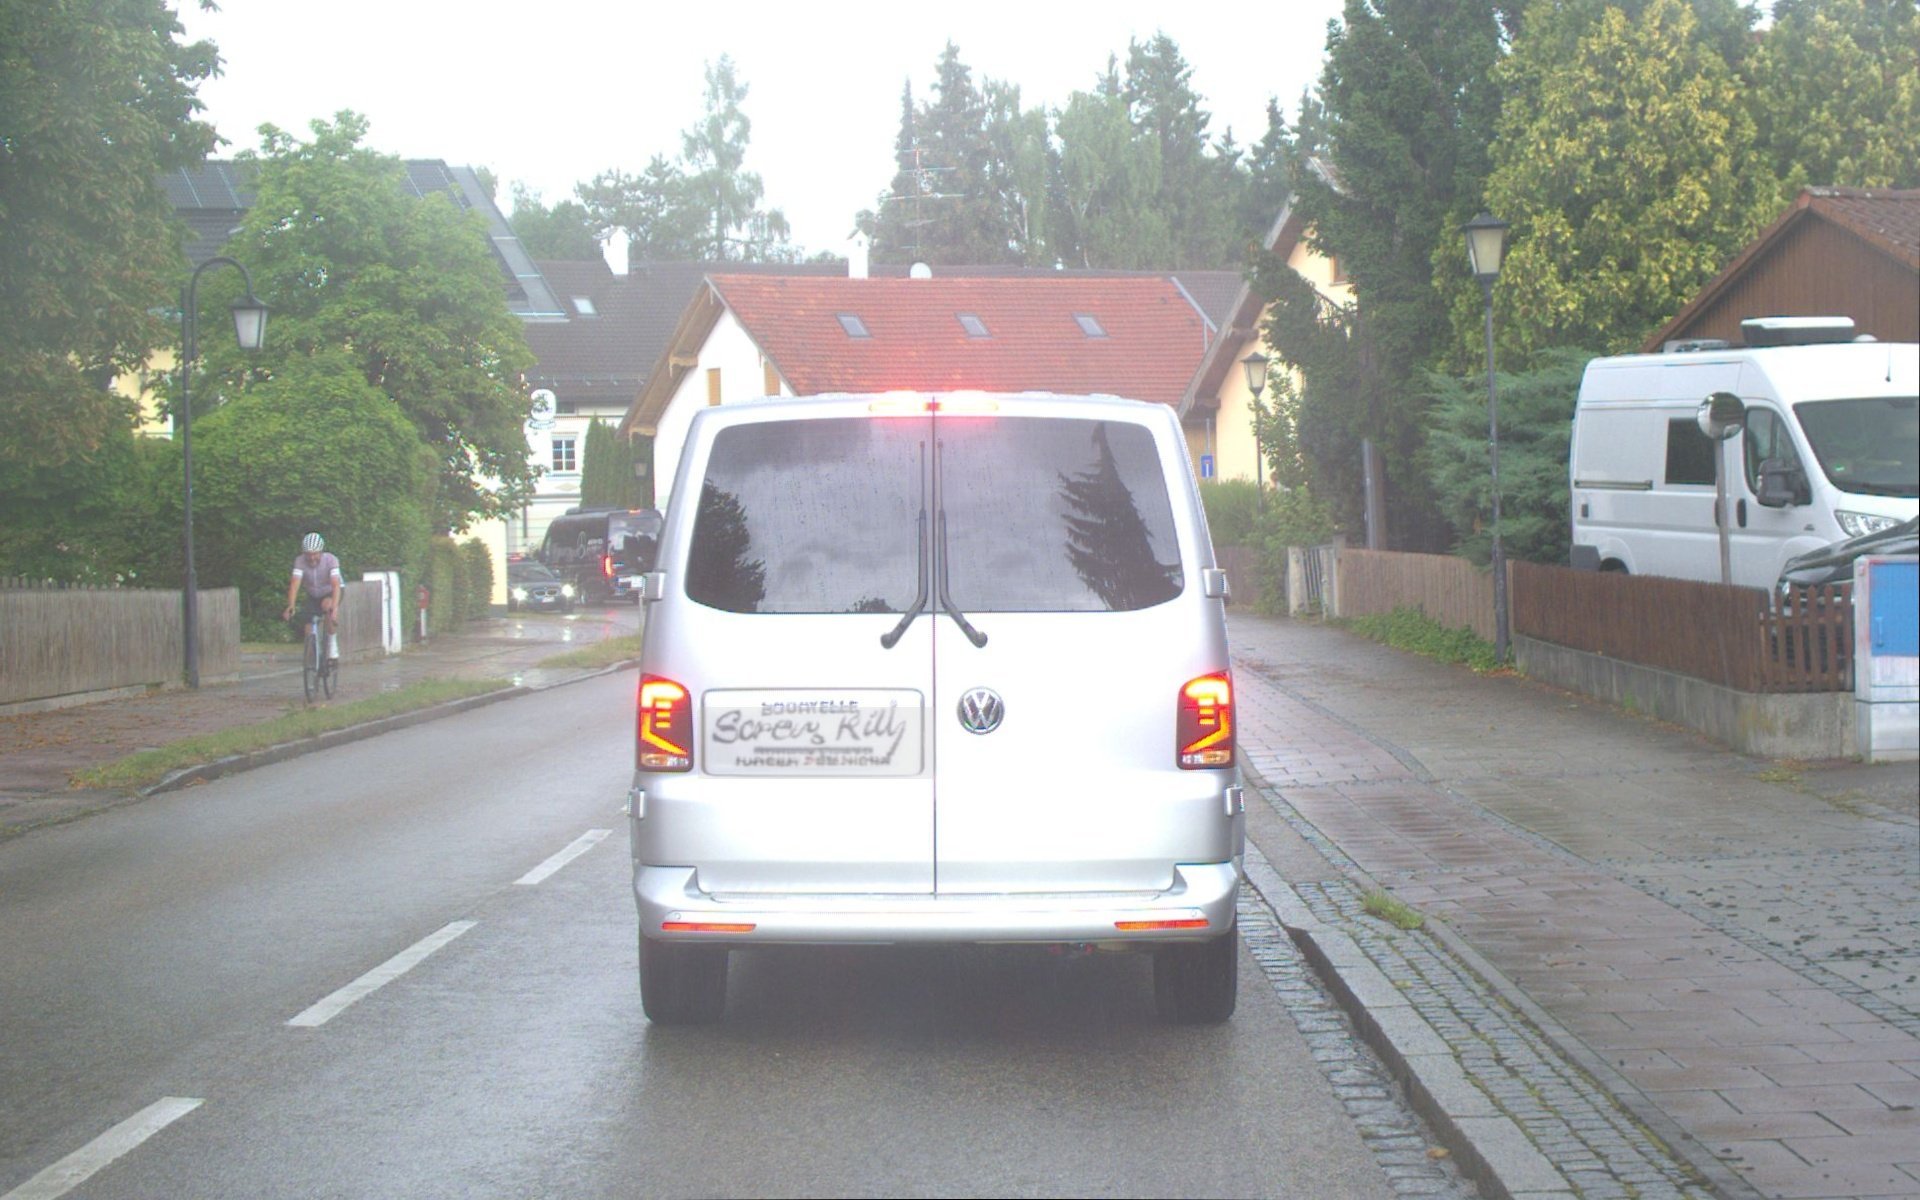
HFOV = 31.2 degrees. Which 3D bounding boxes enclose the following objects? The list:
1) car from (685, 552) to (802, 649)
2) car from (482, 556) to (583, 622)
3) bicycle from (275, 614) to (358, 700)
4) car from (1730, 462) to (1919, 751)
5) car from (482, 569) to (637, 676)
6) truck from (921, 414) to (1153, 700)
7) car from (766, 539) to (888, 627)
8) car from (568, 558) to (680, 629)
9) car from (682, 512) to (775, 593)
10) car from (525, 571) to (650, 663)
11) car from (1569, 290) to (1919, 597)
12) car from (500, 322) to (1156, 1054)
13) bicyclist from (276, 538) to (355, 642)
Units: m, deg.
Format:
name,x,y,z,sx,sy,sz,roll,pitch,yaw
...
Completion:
name,x,y,z,sx,sy,sz,roll,pitch,yaw
car,-3.645,0.005,58.453,1.827,1.553,4.177,-1,0,-2
car,-11.531,-0.295,92.547,1.993,1.697,4.001,1,0,-17
bicycle,-6.404,0.559,34.289,0.456,0.796,1.977,0,1,0
car,7.223,-0.021,22.183,4.093,1.745,1.695,-1,3,-3
car,-5.629,0.300,48.665,1.618,1.439,3.670,0,0,2
truck,0.840,-0.478,40.599,2.475,3.063,6.296,1,0,0
car,-3.197,-0.413,81.955,1.993,2.007,4.001,1,0,-16
car,-9.427,-0.192,96.213,1.993,1.920,4.001,1,0,-22
car,-6.056,-1.220,89.468,1.993,2.007,4.001,1,0,-9
car,-6.051,0.268,56.161,1.618,1.439,3.670,0,0,0
car,6.738,-1.126,27.163,1.993,2.166,4.954,1,0,-13
car,-0.272,0.239,11.592,1.801,2.007,4.000,1,0,3
bicyclist,-6.404,-0.104,34.177,0.587,1.018,1.060,0,1,0
